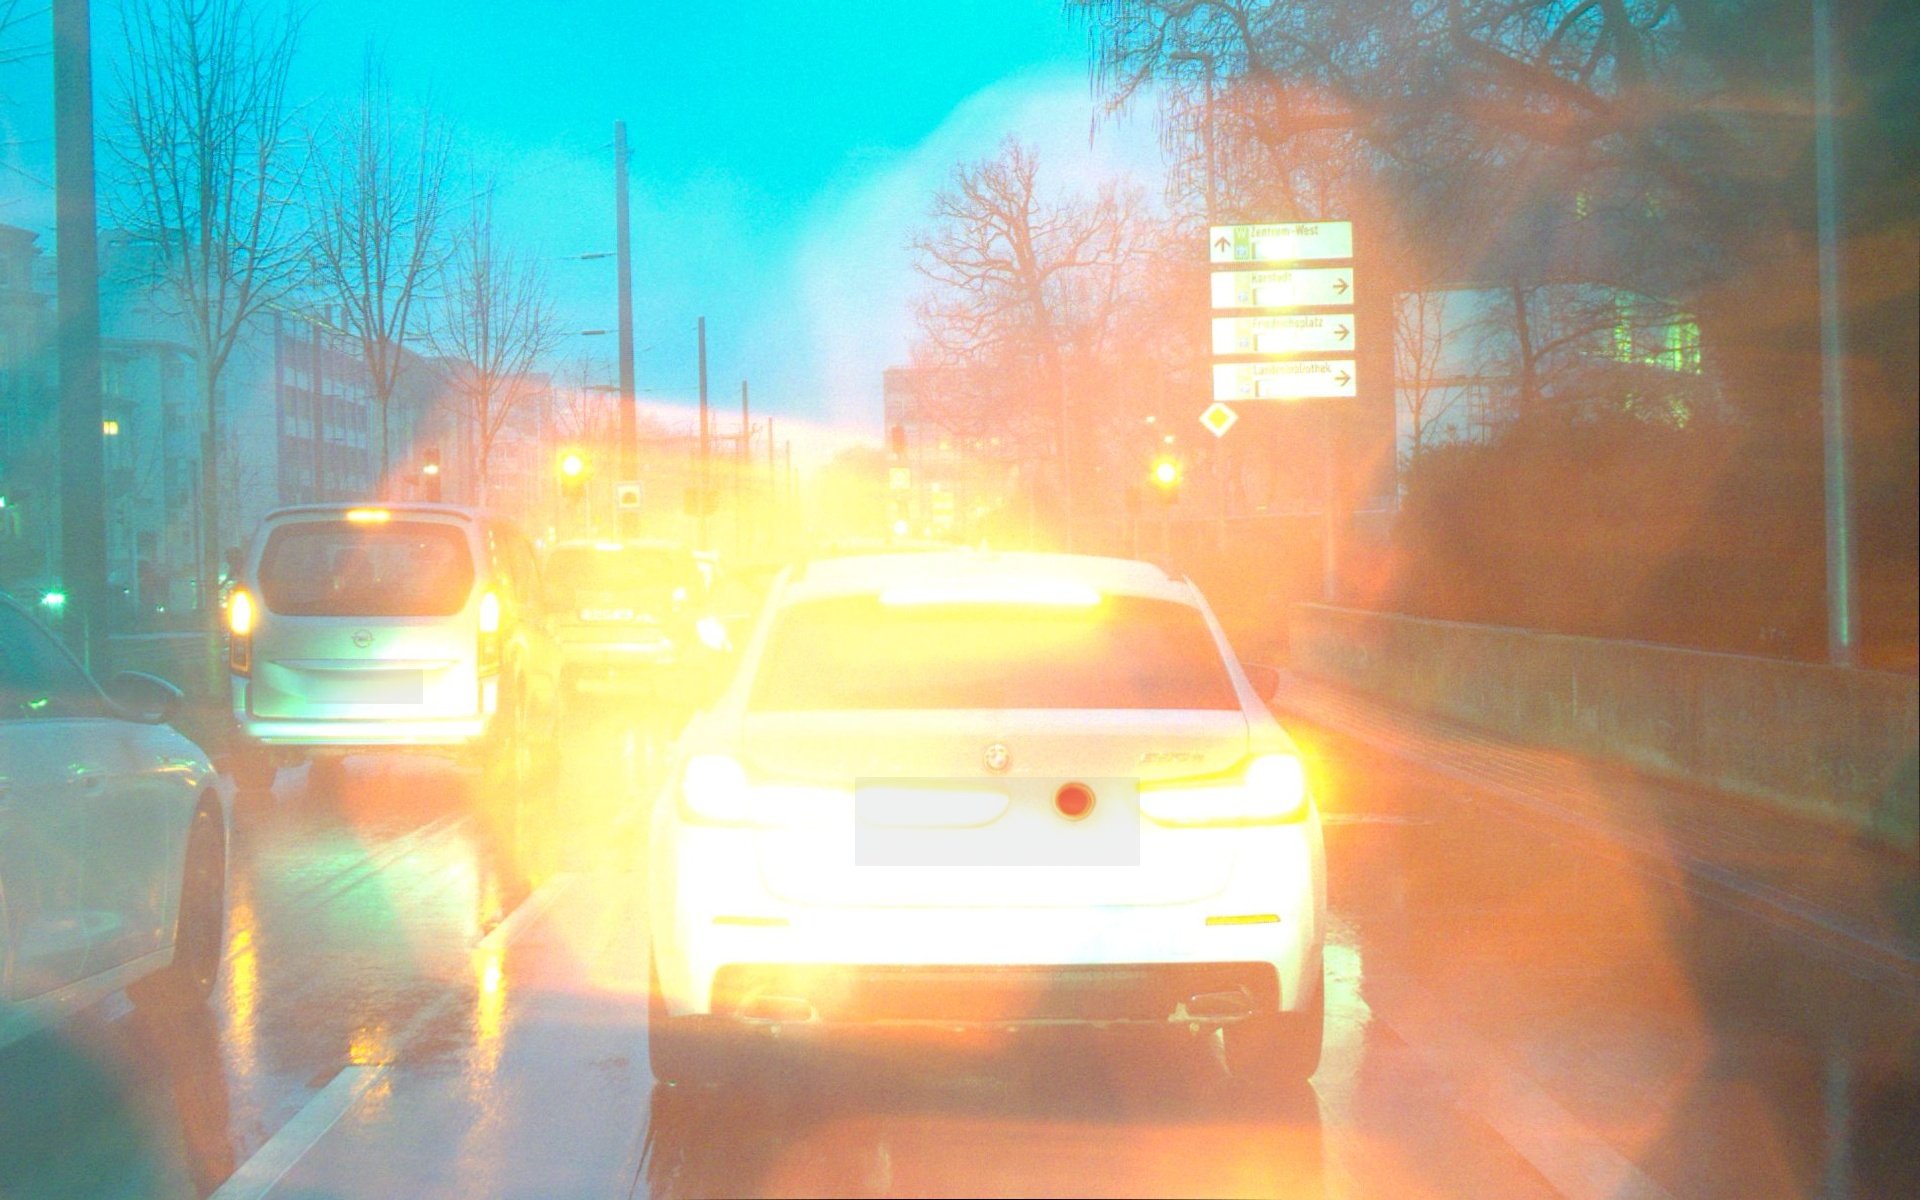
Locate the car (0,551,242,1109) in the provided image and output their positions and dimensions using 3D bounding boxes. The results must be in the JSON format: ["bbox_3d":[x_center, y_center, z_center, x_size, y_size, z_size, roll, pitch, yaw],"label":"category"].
[{"bbox_3d":[-3.336,0.564,9.370,1.846,1.400,4.614,0,1,-1],"label":"car"}]

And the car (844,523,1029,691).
[{"bbox_3d":[-0.255,0.030,35.553,1.806,1.640,4.000,0,1,-1],"label":"car"}]

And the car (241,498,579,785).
[{"bbox_3d":[-3.575,0.222,23.049,1.793,1.730,4.538,0,1,-3],"label":"car"}]

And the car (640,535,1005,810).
[{"bbox_3d":[-0.759,0.346,20.390,1.936,1.452,4.164,0,1,-1],"label":"car"}]

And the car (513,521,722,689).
[{"bbox_3d":[-3.483,0.010,35.610,1.806,1.640,4.000,0,1,-1],"label":"car"}]

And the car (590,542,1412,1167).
[{"bbox_3d":[0.073,0.586,10.469,1.999,1.503,4.164,0,1,-1],"label":"car"}]
